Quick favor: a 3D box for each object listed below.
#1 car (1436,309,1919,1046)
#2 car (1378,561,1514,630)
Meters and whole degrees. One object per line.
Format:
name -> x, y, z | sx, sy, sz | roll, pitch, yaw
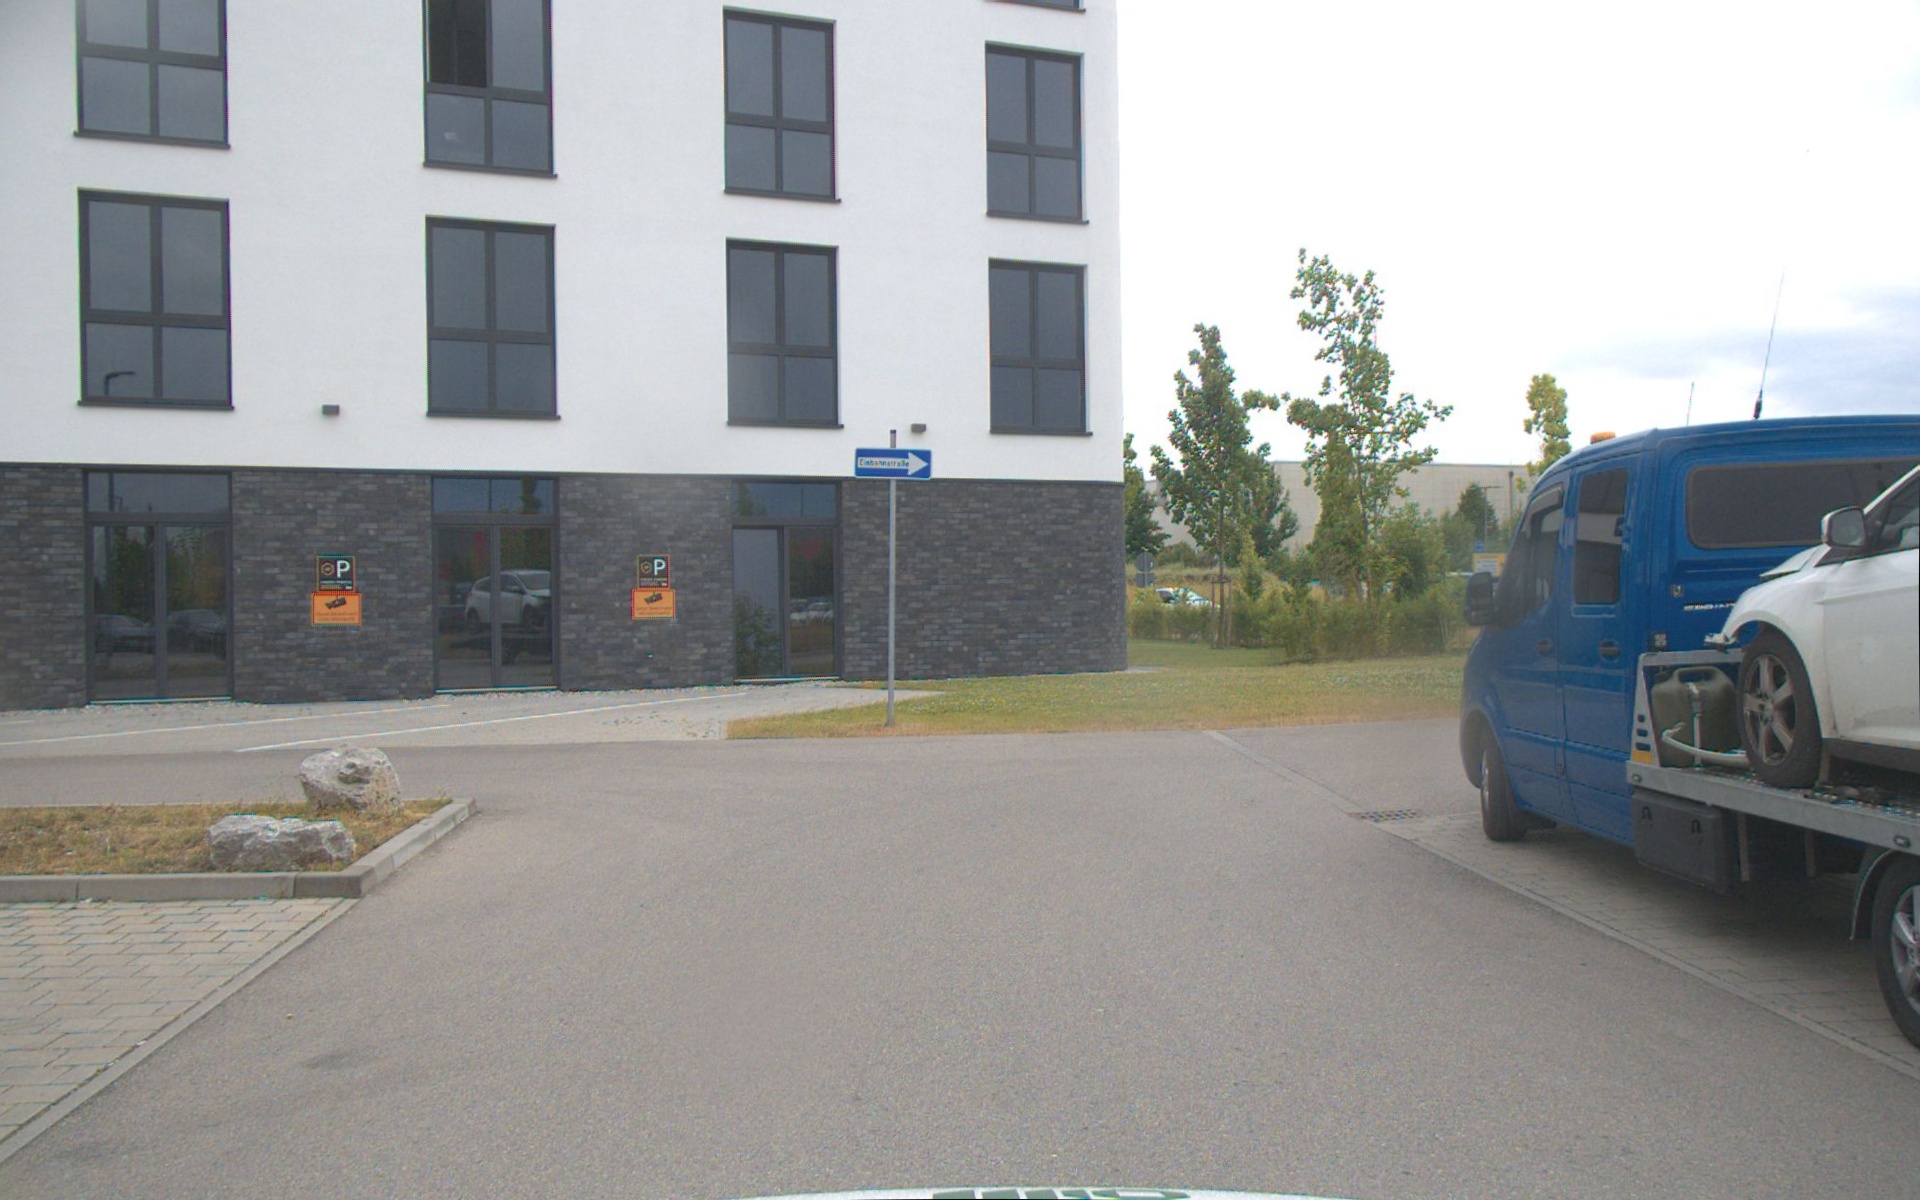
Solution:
car -> 4.158, 0.231, 6.820 | 2.149, 2.363, 7.857 | -1, 0, 0
car -> 14.556, -0.177, 49.870 | 1.958, 1.957, 4.836 | -1, 1, -11
